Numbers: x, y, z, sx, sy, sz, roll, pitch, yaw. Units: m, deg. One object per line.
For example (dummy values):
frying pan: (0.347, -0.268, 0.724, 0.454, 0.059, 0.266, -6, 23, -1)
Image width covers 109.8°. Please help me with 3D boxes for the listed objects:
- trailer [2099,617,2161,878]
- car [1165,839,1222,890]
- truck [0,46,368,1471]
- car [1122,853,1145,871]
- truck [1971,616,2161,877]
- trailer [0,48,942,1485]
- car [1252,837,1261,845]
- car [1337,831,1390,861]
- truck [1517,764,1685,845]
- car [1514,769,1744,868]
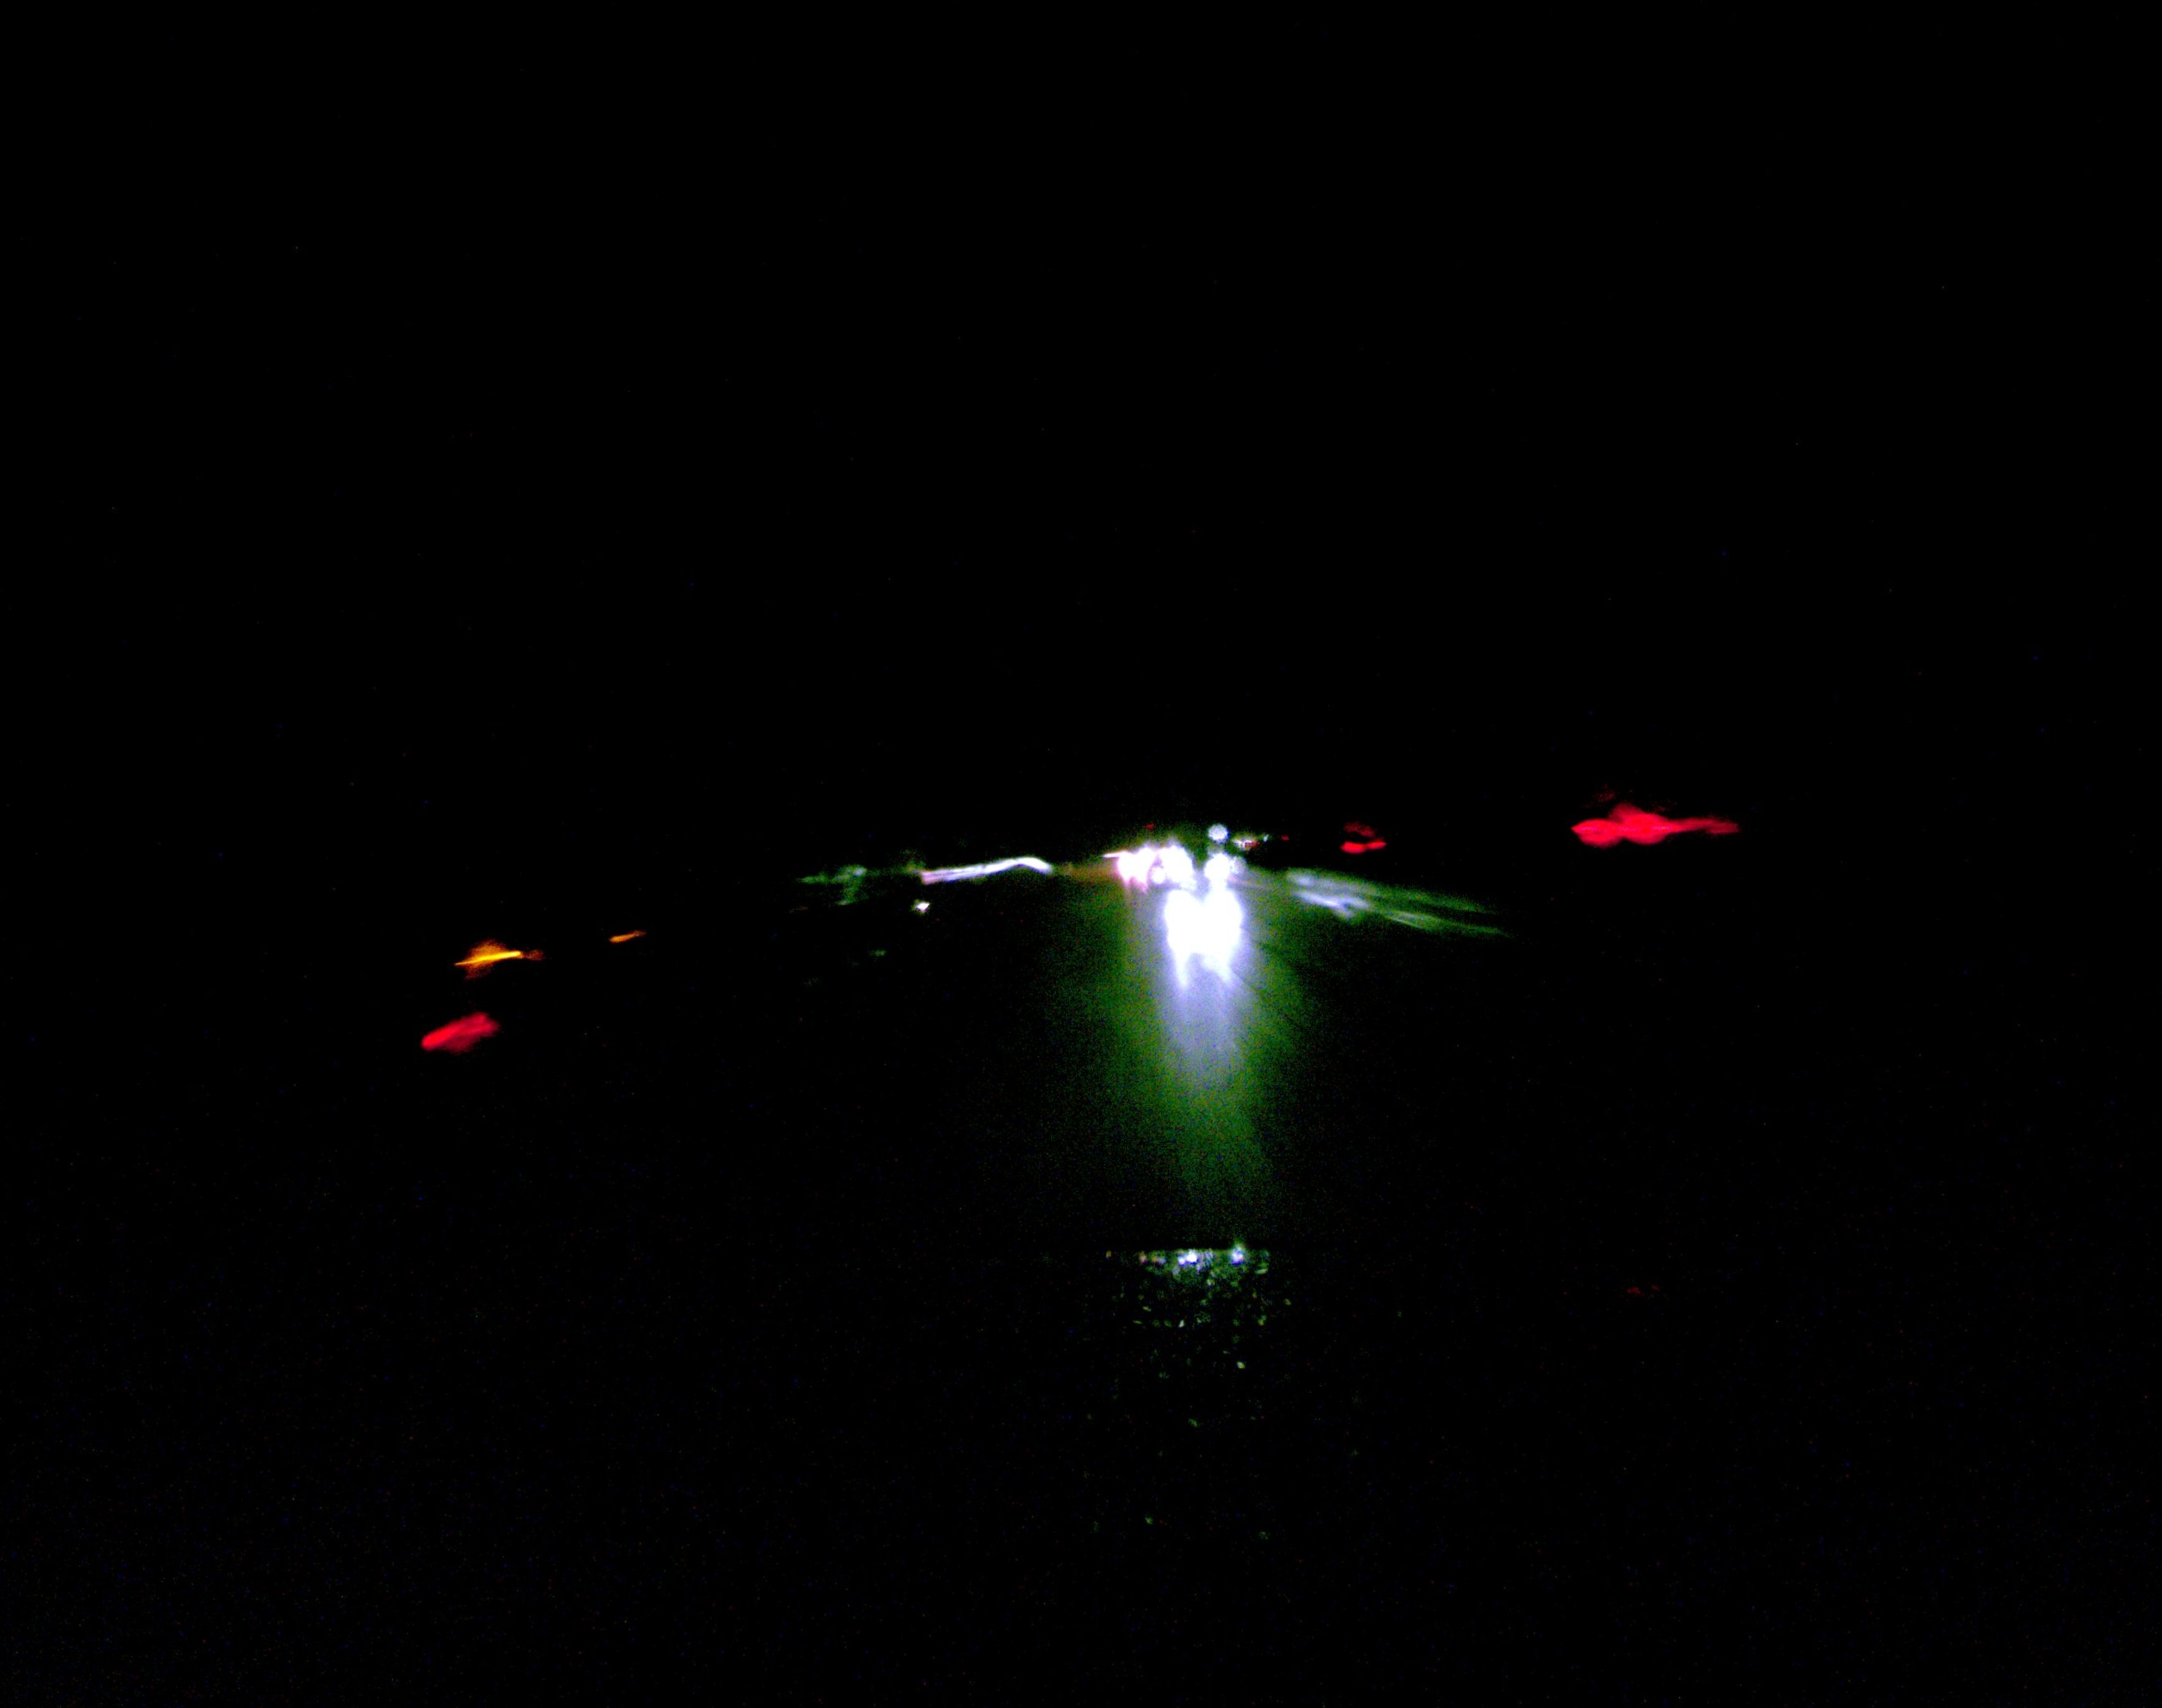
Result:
trailer: (22.431, -2.359, 8.072, 2.778, 5.060, 14.939, -6, -1, 1)
car: (4.934, 0.479, 33.801, 1.998, 2.001, 4.001, -4, -1, 3)
truck: (-4.567, -0.288, 0.660, 2.717, 4.216, 5.293, -2, 0, 1)
car: (5.268, 0.790, 76.093, 1.804, 1.608, 4.259, -3, 1, 10)
truck: (22.507, -2.206, 14.866, 2.759, 5.067, 5.884, -6, -1, 1)
trailer: (-4.366, -0.294, 7.906, 2.746, 4.223, 13.371, -4, 0, 2)
car: (48.219, -3.661, 208.630, 1.998, 1.841, 4.003, -6, -1, 7)
car: (18.618, -0.467, 50.236, 1.998, 1.676, 4.001, -6, -1, 2)
truck: (20.631, -1.833, 30.622, 2.291, 2.656, 6.121, -6, 0, -1)
car: (13.892, -0.762, 19.801, 1.999, 2.001, 5.196, -6, -1, -1)
